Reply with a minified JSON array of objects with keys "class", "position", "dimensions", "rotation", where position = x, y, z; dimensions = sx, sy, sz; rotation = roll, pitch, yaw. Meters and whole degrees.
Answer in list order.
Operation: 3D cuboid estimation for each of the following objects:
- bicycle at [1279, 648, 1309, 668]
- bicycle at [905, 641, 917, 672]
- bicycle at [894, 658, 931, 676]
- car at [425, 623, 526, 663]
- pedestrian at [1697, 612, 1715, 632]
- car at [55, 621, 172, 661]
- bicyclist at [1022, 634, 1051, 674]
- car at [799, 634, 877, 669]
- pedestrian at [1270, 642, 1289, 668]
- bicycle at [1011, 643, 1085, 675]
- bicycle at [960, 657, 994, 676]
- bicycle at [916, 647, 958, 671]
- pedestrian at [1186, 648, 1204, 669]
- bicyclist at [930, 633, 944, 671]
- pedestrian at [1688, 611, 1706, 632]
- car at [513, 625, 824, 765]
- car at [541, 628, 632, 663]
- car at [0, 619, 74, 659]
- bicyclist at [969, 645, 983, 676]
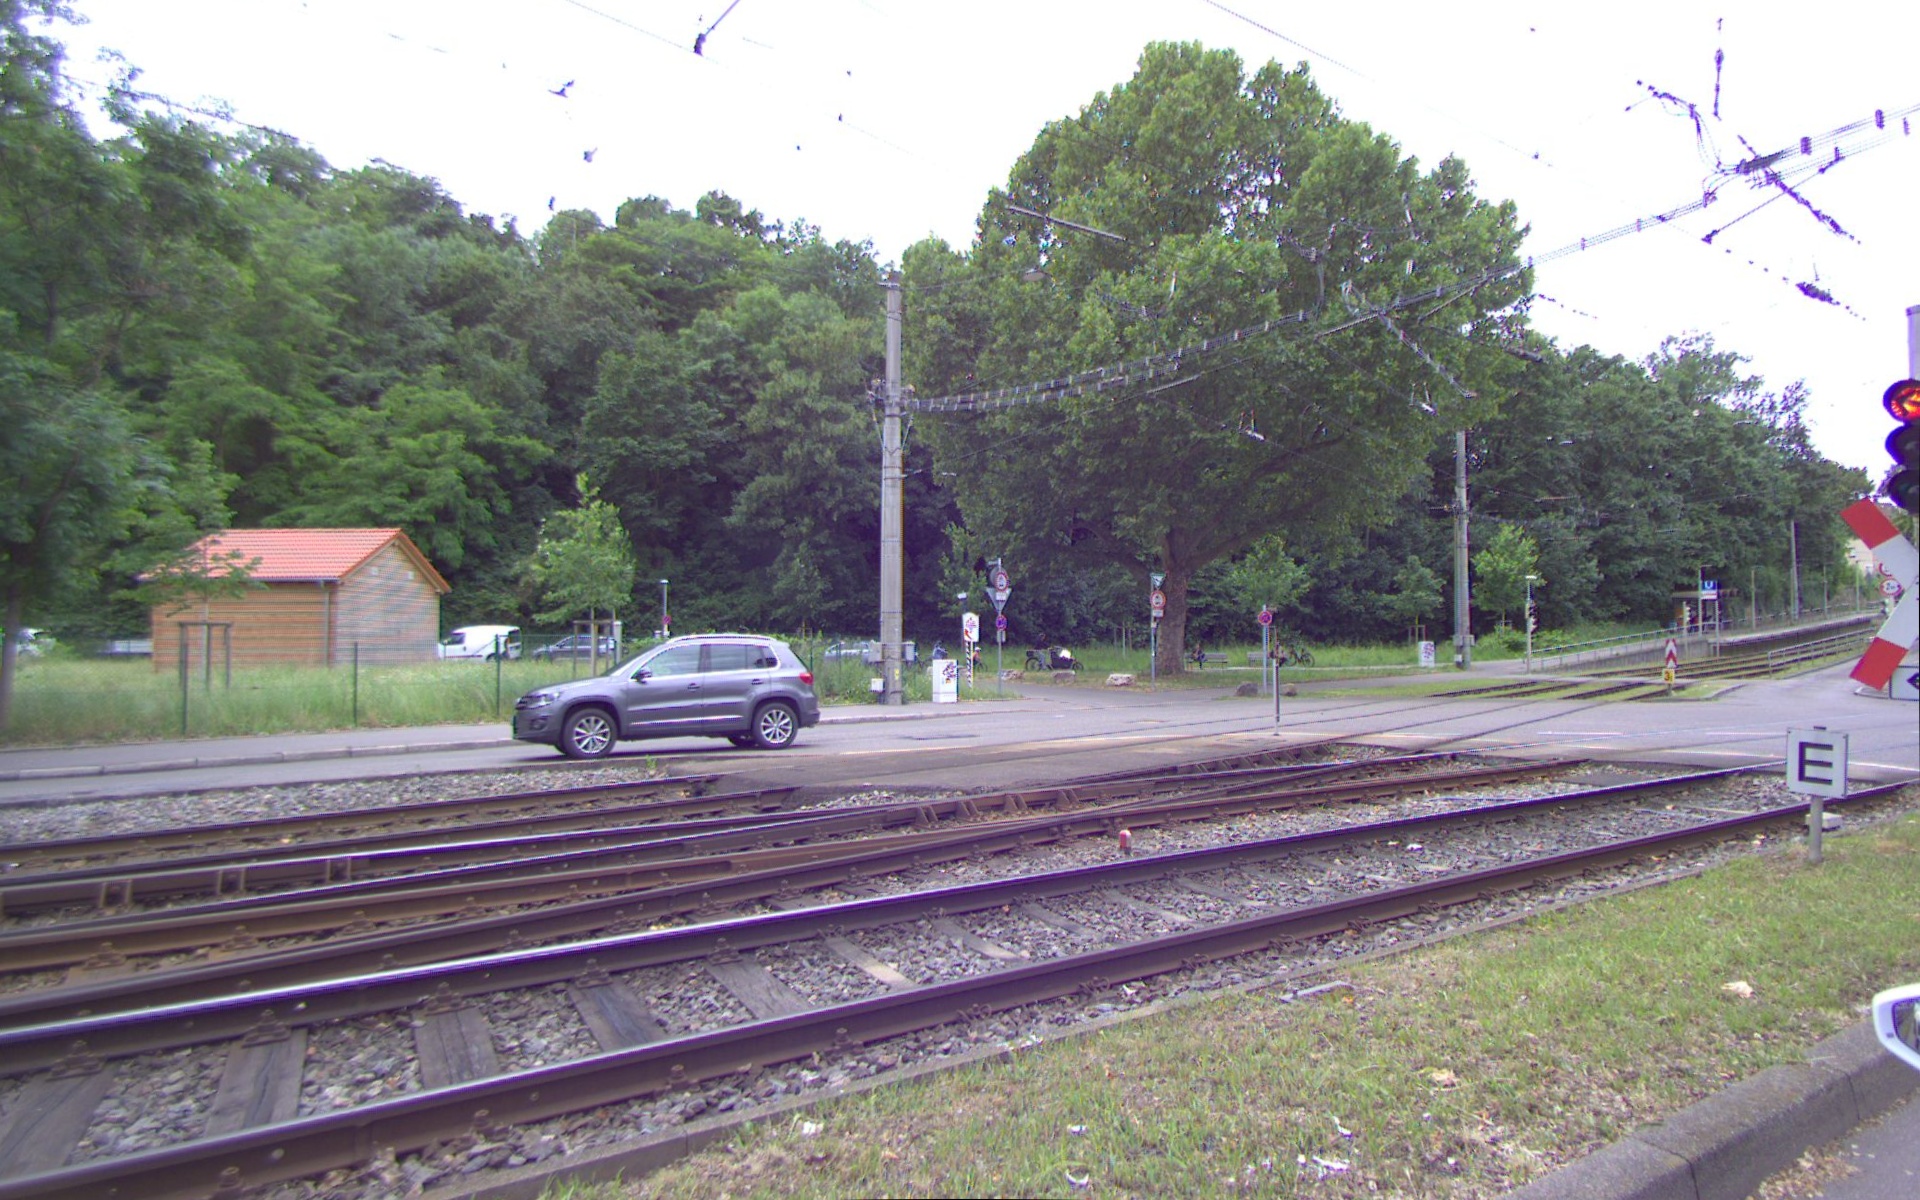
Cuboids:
[{"class":"bicycle","position":[16.393,2.841,49.299],"dimensions":[0.611,0.897,1.743],"rotation":[2,0,-10]},{"class":"bicycle","position":[-2.174,2.532,44.877],"dimensions":[0.506,1.348,0.454],"rotation":[-1,2,-4]},{"class":"bicycle","position":[-2.124,2.993,44.898],"dimensions":[1.621,0.749,0.454],"rotation":[-1,2,-5]},{"class":"car","position":[-21.908,1.937,45.525],"dimensions":[3.610,1.634,1.909],"rotation":[2,0,-3]},{"class":"pedestrian","position":[50.106,1.477,67.497],"dimensions":[0.780,1.344,0.766],"rotation":[2,0,-38]},{"class":"car","position":[-37.594,1.817,44.682],"dimensions":[3.610,1.634,1.757],"rotation":[2,0,-3]},{"class":"bicyclist","position":[3.472,2.461,45.634],"dimensions":[1.266,1.734,0.735],"rotation":[-1,2,6]},{"class":"car","position":[-5.654,2.385,46.849],"dimensions":[3.436,1.443,1.700],"rotation":[2,0,-3]},{"class":"pedestrian","position":[15.545,2.665,48.872],"dimensions":[0.662,1.251,0.578],"rotation":[2,0,-16]},{"class":"bicycle","position":[4.000,2.667,45.575],"dimensions":[3.279,1.307,0.735],"rotation":[-1,2,6]},{"class":"bicycle","position":[0.765,3.011,45.422],"dimensions":[1.529,0.749,0.454],"rotation":[-2,2,-3]},{"class":"bicycle","position":[-1.048,2.694,45.825],"dimensions":[1.907,1.055,0.475],"rotation":[0,1,-4]},{"class":"pedestrian","position":[11.305,2.805,48.319],"dimensions":[0.610,1.003,0.530],"rotation":[2,0,-15]},{"class":"bicyclist","position":[-1.070,2.370,45.812],"dimensions":[0.612,1.697,0.475],"rotation":[0,2,-4]},{"class":"pedestrian","position":[49.079,1.443,66.859],"dimensions":[0.780,1.344,0.766],"rotation":[-1,2,-37]},{"class":"car","position":[-4.266,1.302,14.731],"dimensions":[4.084,1.740,1.893],"rotation":[0,-3,-28]},{"class":"car","position":[-16.861,2.038,45.468],"dimensions":[3.436,1.443,1.700],"rotation":[2,0,-3]},{"class":"car","position":[-41.787,1.688,44.360],"dimensions":[3.612,1.634,1.756],"rotation":[2,0,-6]},{"class":"bicyclist","position":[0.739,2.726,45.413],"dimensions":[0.570,1.319,0.454],"rotation":[-2,2,-3]}]
